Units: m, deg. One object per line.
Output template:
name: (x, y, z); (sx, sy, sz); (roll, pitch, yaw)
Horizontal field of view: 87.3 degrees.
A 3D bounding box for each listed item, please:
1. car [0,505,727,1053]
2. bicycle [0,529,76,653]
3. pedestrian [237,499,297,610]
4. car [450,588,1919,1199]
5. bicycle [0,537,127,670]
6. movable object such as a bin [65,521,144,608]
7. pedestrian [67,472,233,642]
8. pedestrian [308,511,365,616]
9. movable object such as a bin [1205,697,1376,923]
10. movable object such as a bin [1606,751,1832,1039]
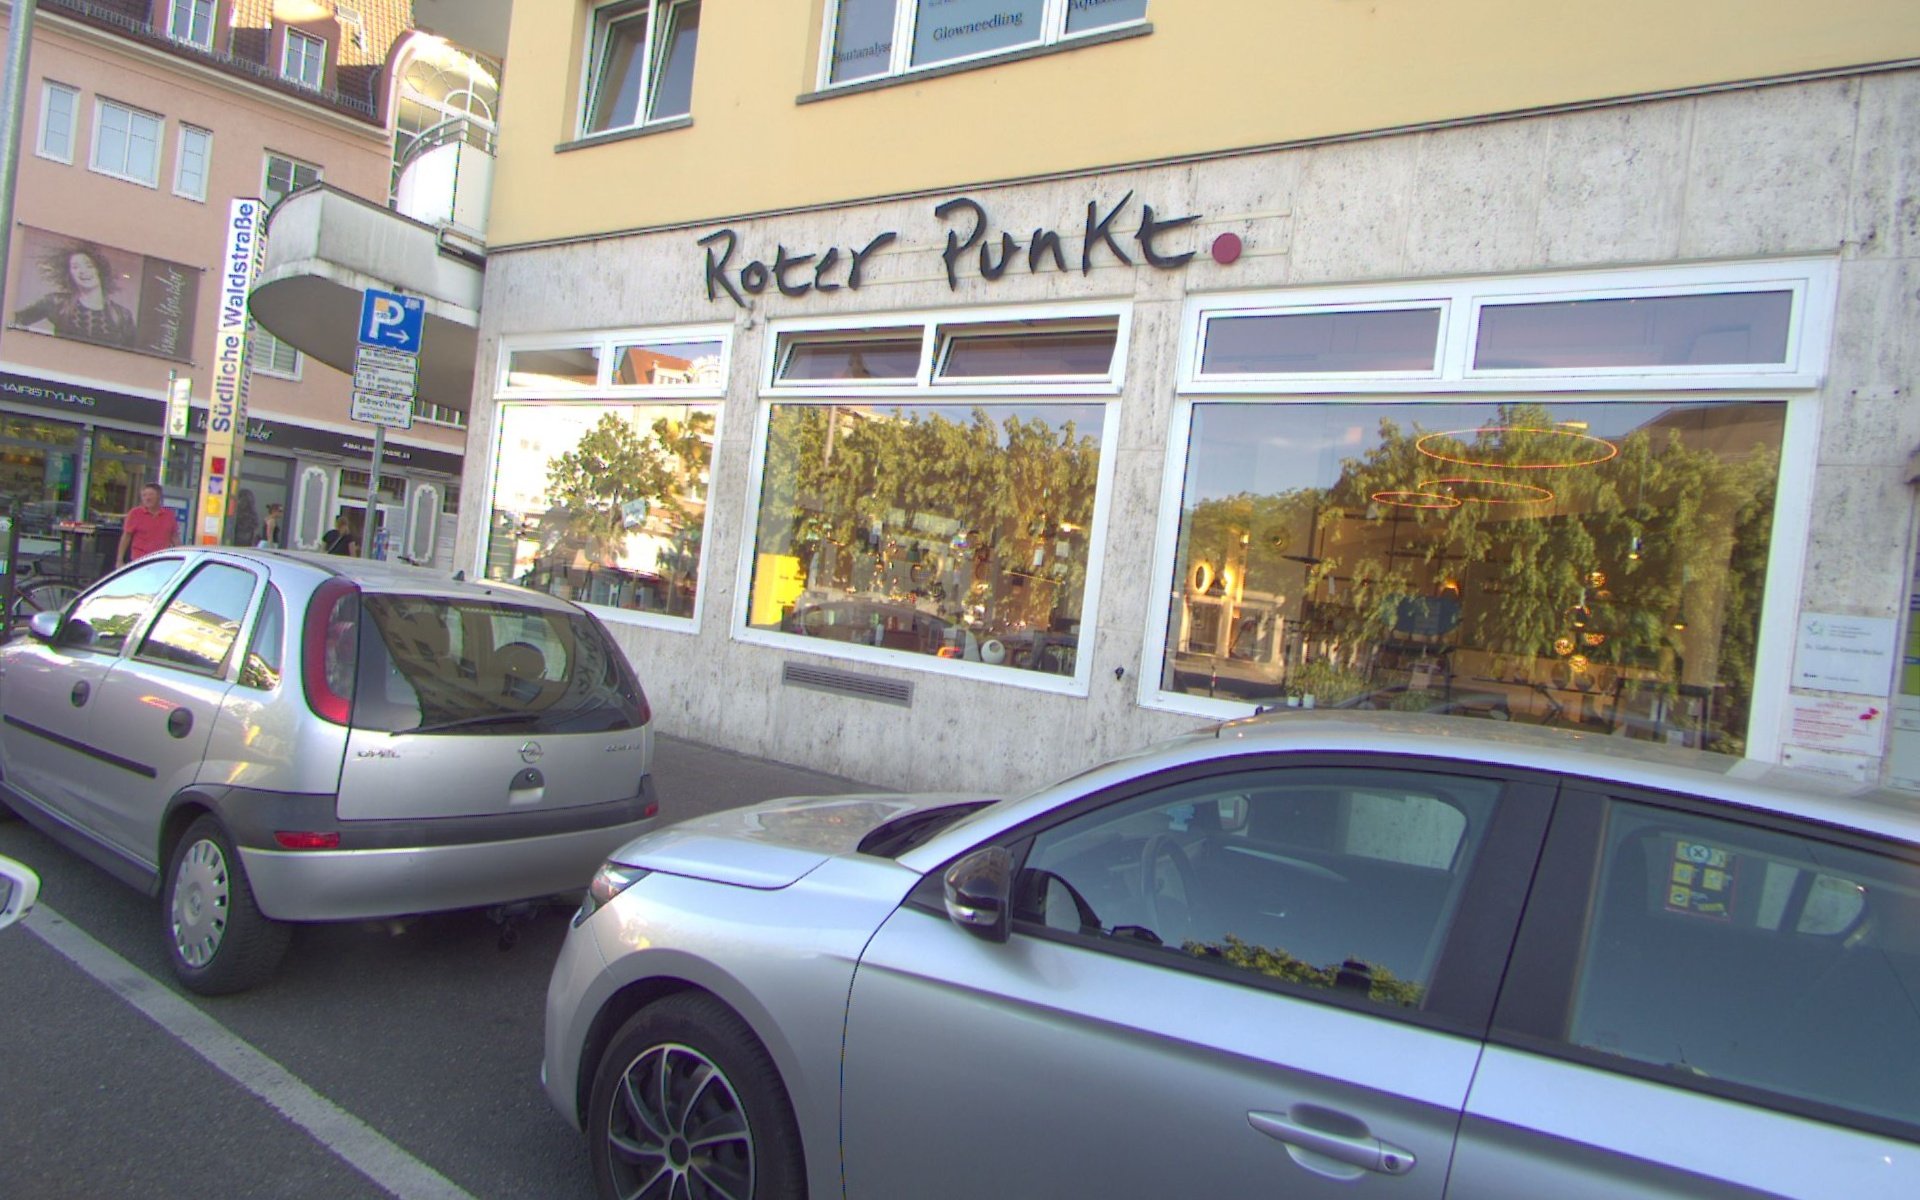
car: (-2.956, 0.482, 4.456); (3.520, 1.443, 1.587); (6, -2, 32)
bicycle: (-9.055, -0.152, 8.793); (0.642, 1.072, 1.816); (7, -1, 33)
pedestrian: (-12.298, -0.799, 17.870); (0.674, 1.875, 0.888); (3, 3, -26)
car: (0.781, 0.941, 2.277); (3.624, 1.453, 1.587); (6, -2, 30)
bicycle: (-8.164, 0.001, 8.249); (0.642, 1.057, 1.884); (7, 0, 33)
movable object such as a bin: (-11.956, -0.490, 14.060); (0.716, 1.117, 0.636); (7, 2, 35)
pedestrian: (-9.234, -0.483, 11.485); (1.096, 1.739, 1.059); (6, -1, 35)
pedestrian: (-11.164, -0.654, 18.025); (0.715, 1.777, 0.782); (4, 2, -29)
movable object such as a bin: (1.815, 1.093, 5.479); (0.639, 1.035, 0.738); (6, -1, 31)
movable object such as a bin: (3.374, 1.263, 4.542); (0.639, 1.035, 0.738); (6, -1, 31)
